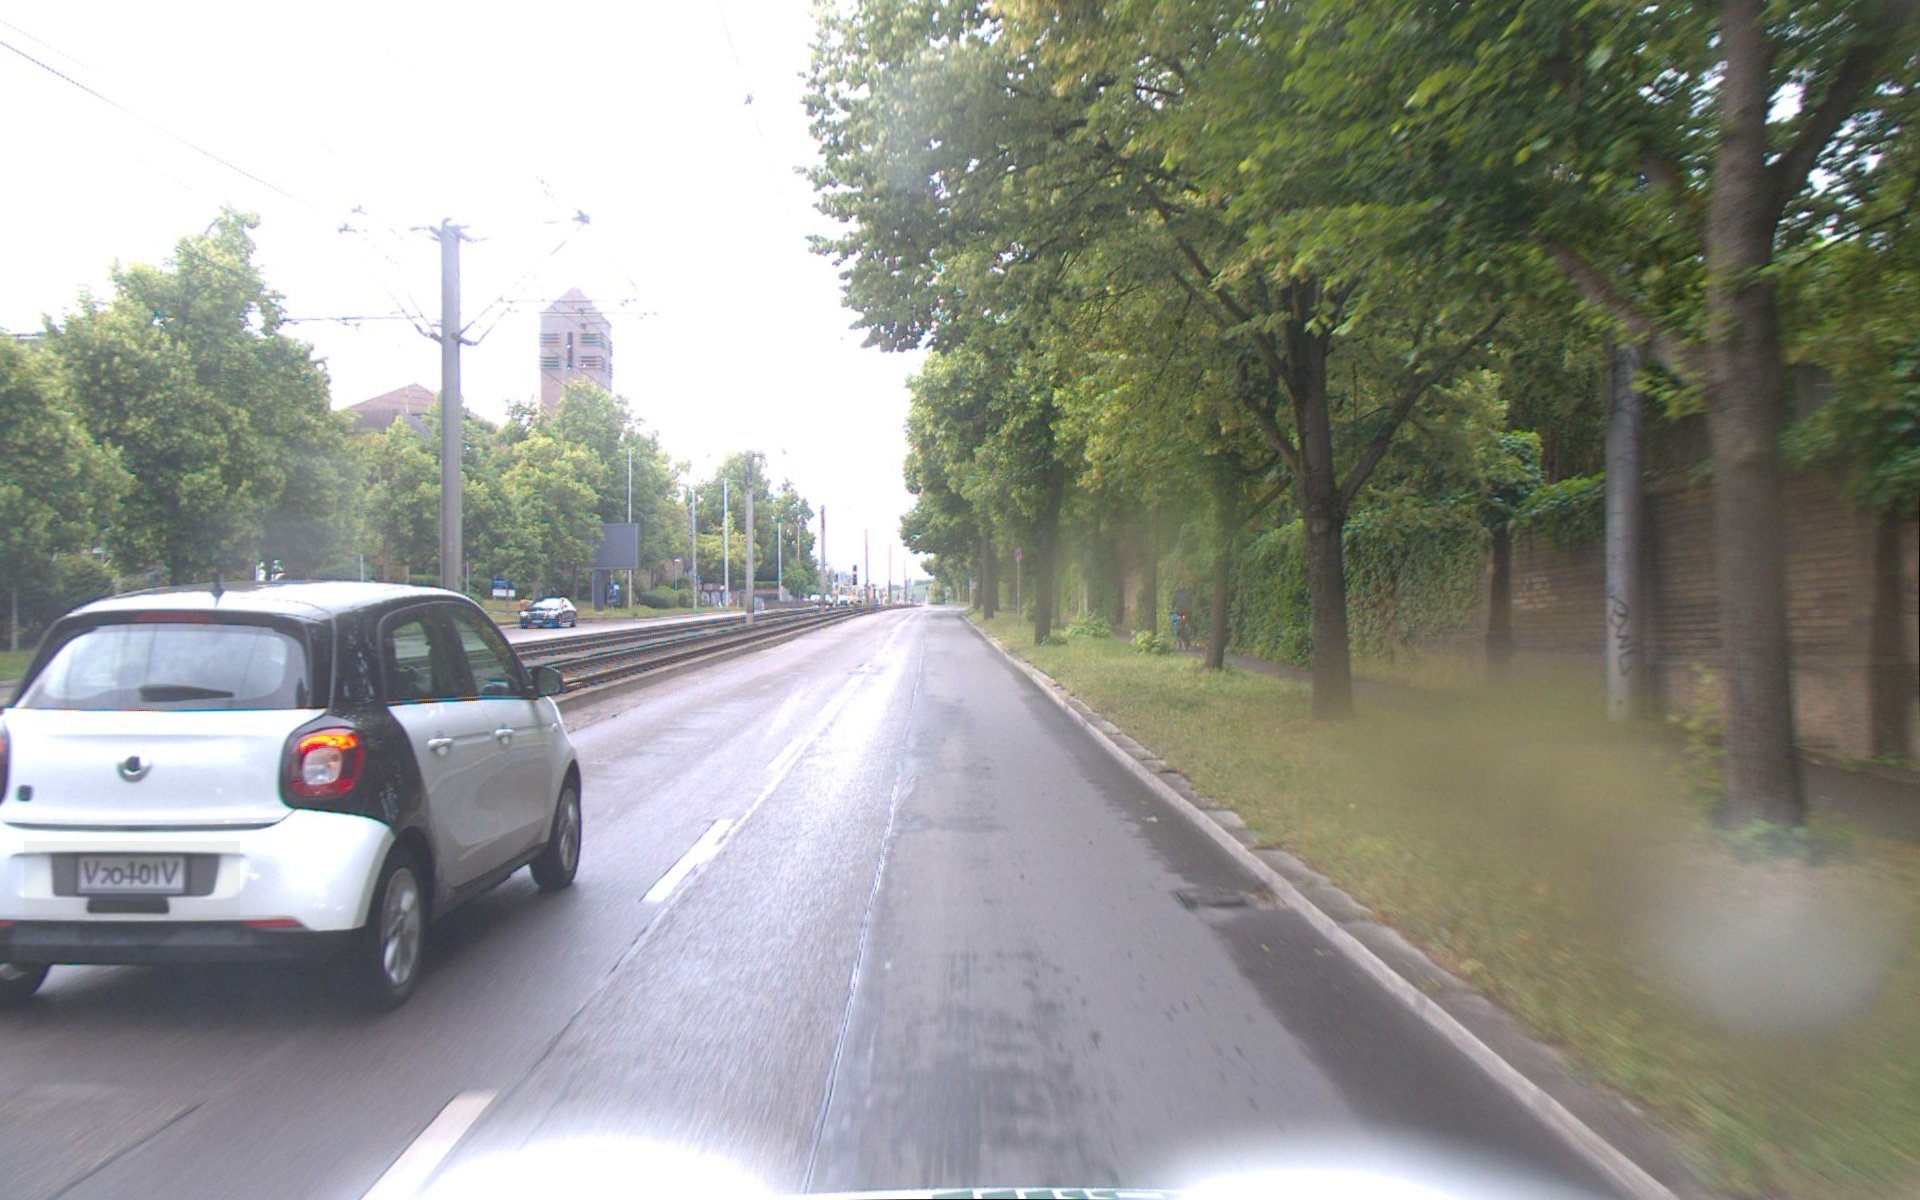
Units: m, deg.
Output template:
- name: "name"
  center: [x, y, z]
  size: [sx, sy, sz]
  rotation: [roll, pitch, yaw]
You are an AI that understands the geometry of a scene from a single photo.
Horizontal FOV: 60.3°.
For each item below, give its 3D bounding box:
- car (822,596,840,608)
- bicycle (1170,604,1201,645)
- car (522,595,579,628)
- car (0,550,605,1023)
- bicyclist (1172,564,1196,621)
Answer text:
- name: "car"
  center: [-18.696, 0.240, 239.727]
  size: [1.971, 1.685, 4.618]
  rotation: [0, 0, 3]
- name: "bicycle"
  center: [5.629, 0.597, 41.404]
  size: [0.531, 0.964, 2.550]
  rotation: [0, 0, 2]
- name: "car"
  center: [-20.019, 0.541, 81.017]
  size: [1.758, 1.557, 4.620]
  rotation: [0, 0, -2]
- name: "car"
  center: [-2.775, 0.603, 7.351]
  size: [1.642, 1.557, 3.721]
  rotation: [-1, 0, -1]
- name: "bicyclist"
  center: [5.612, -0.183, 41.444]
  size: [0.524, 1.414, 0.666]
  rotation: [0, 0, 2]
